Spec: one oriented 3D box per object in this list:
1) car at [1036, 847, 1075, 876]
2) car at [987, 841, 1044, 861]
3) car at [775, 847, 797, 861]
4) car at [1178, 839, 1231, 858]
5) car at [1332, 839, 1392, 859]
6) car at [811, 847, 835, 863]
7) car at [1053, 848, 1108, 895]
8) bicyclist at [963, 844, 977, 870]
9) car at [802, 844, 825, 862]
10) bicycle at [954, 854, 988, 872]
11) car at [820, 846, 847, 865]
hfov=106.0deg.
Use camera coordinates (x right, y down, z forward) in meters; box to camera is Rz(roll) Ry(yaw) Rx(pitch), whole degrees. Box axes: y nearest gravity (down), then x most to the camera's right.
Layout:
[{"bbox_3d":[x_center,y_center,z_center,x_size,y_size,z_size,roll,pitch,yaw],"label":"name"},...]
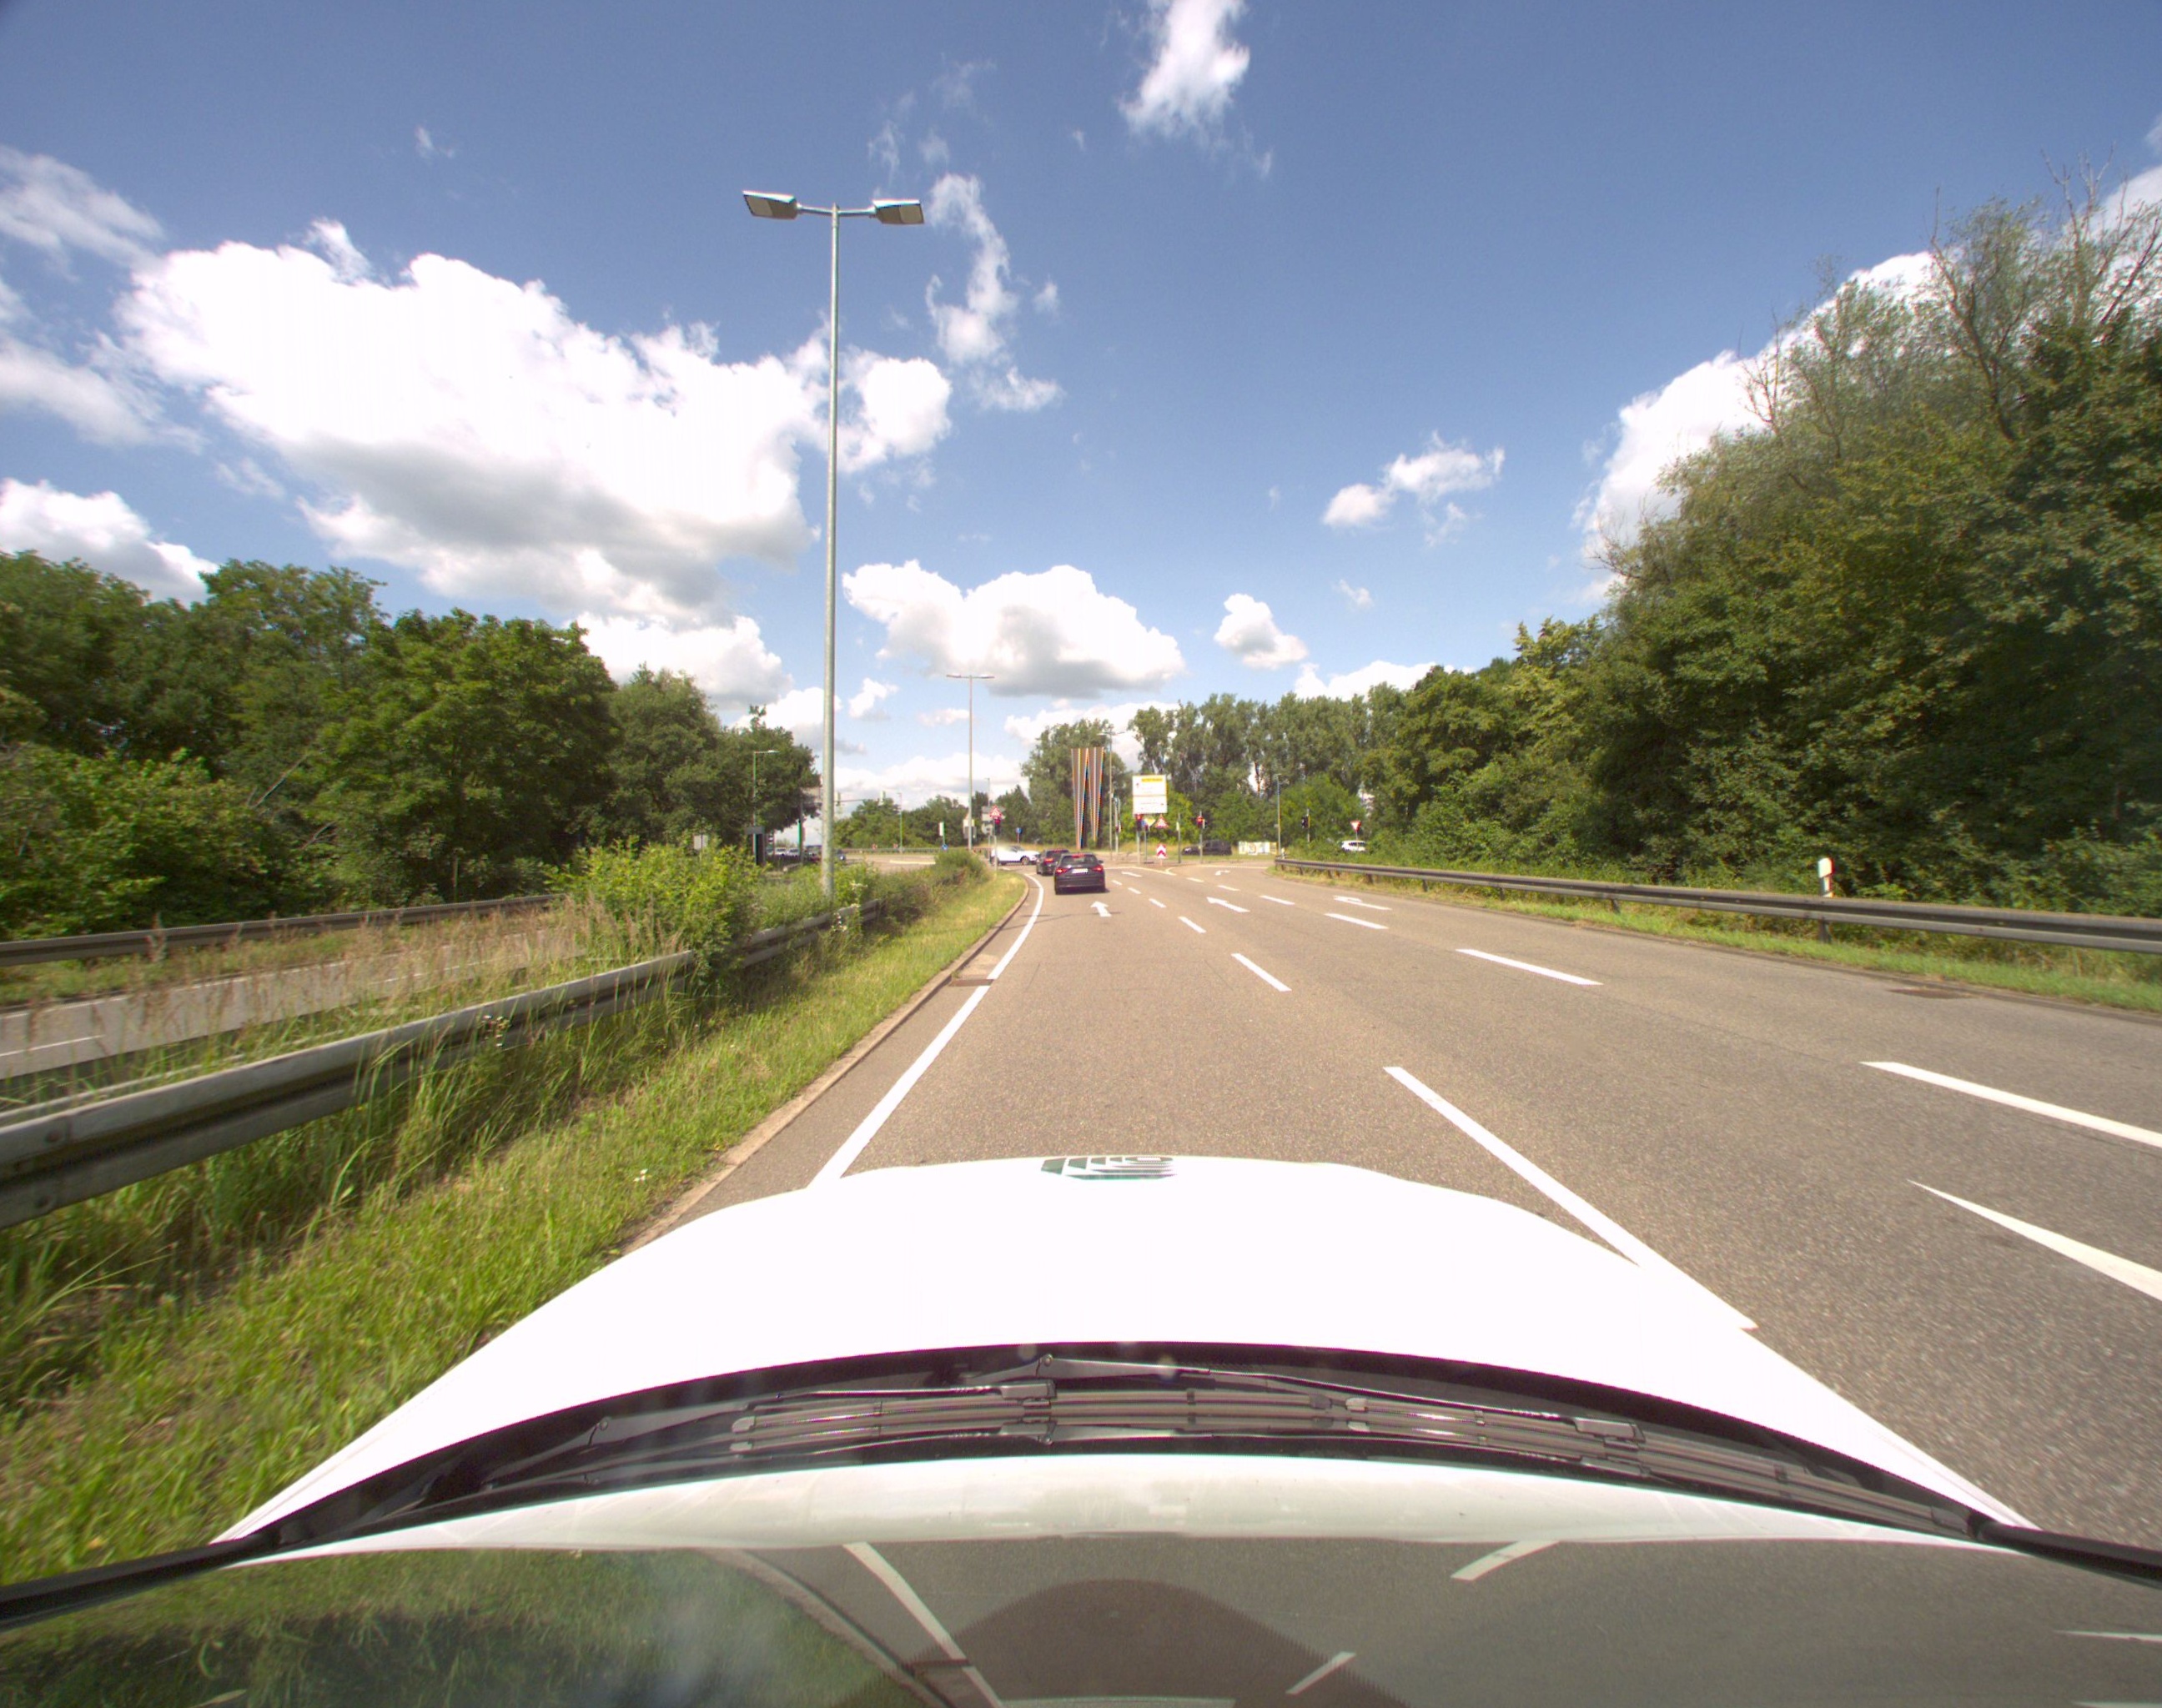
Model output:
[{"bbox_3d":[-1.466,0.367,45.097,1.725,1.423,3.835,-3,1,-8],"label":"car"},{"bbox_3d":[-5.075,-0.220,63.093,4.001,1.476,1.745,1,0,17],"label":"car"},{"bbox_3d":[-36.654,-0.036,101.098,1.854,1.705,4.286,-2,1,-29],"label":"car"},{"bbox_3d":[10.694,-0.495,70.693,4.261,1.545,1.734,-2,1,-5],"label":"car"},{"bbox_3d":[22.071,-0.396,63.947,4.025,1.509,1.949,1,-1,-10],"label":"car"},{"bbox_3d":[-25.826,0.113,81.470,1.740,1.476,4.014,-2,1,-24],"label":"car"},{"bbox_3d":[-0.082,0.576,28.852,1.722,1.404,3.997,-4,1,-2],"label":"car"},{"bbox_3d":[-6.868,0.178,50.318,0.834,1.560,0.669,-1,0,-12],"label":"bicyclist"},{"bbox_3d":[-28.756,-0.137,87.588,1.852,1.802,4.292,-2,1,-24],"label":"car"},{"bbox_3d":[-6.812,0.557,50.326,2.054,1.023,0.669,-1,0,-12],"label":"bicycle"},{"bbox_3d":[-22.590,0.175,74.139,1.847,1.618,3.968,-2,0,-24],"label":"car"}]
